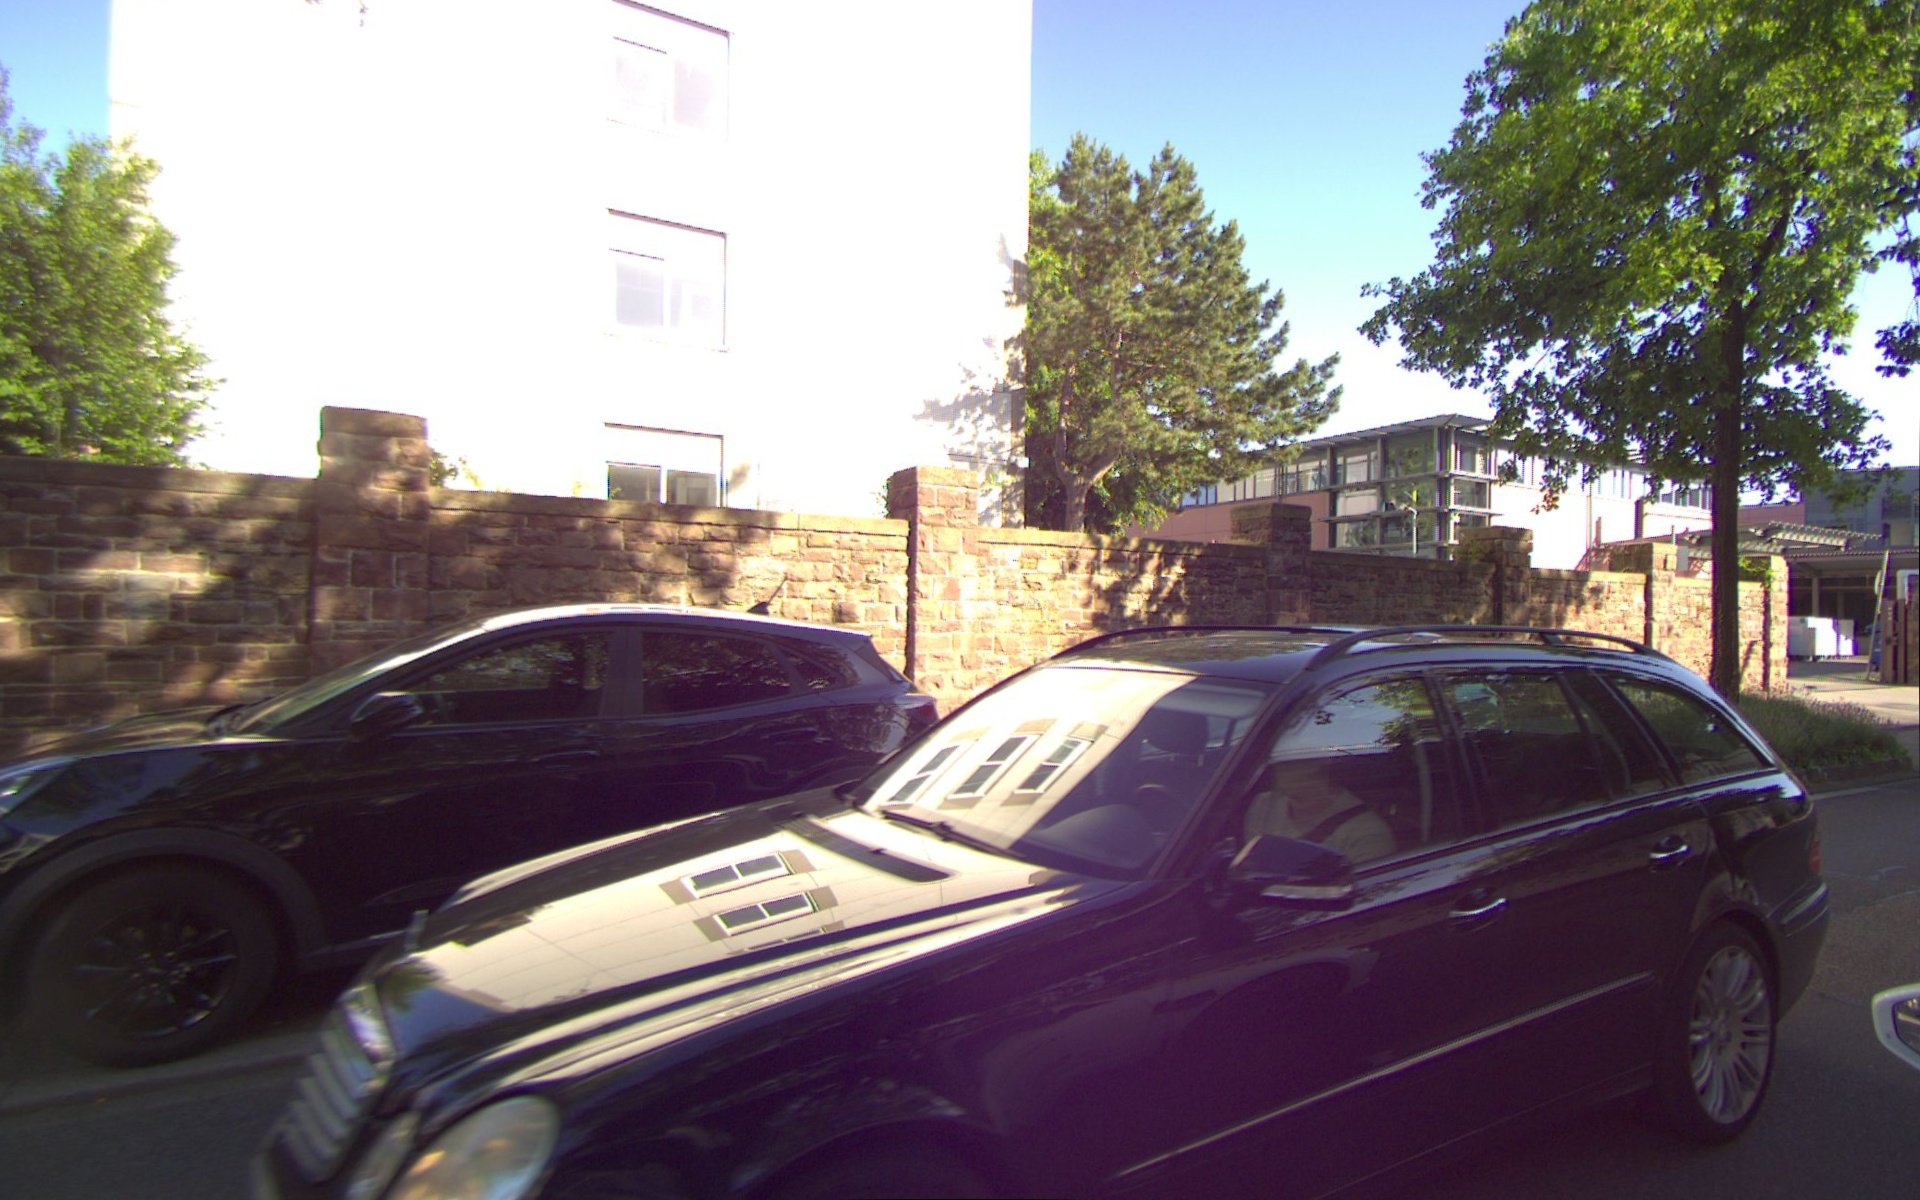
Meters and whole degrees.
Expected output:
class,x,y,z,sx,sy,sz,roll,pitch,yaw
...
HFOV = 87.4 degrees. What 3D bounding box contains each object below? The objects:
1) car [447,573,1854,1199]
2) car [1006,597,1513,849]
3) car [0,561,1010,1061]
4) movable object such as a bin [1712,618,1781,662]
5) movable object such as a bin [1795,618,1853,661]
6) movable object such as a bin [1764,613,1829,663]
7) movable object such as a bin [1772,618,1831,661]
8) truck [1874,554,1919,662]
class,x,y,z,sx,sy,sz,roll,pitch,yaw
car,0.759,0.745,2.974,3.925,1.455,1.812,1,-1,-32
car,2.386,0.776,7.687,3.799,1.441,1.676,2,1,-34
car,-1.873,0.690,4.638,3.998,1.535,1.565,2,0,-31
movable object such as a bin,30.530,1.547,38.981,2.527,1.619,1.318,2,1,-33
movable object such as a bin,38.142,1.747,44.341,2.644,1.805,1.198,2,1,-33
movable object such as a bin,33.007,1.509,39.627,2.411,1.889,1.185,2,1,-31
movable object such as a bin,35.875,1.690,42.809,2.412,1.709,1.198,2,1,-33
truck,36.528,0.388,36.549,7.342,3.761,2.719,2,1,-31
